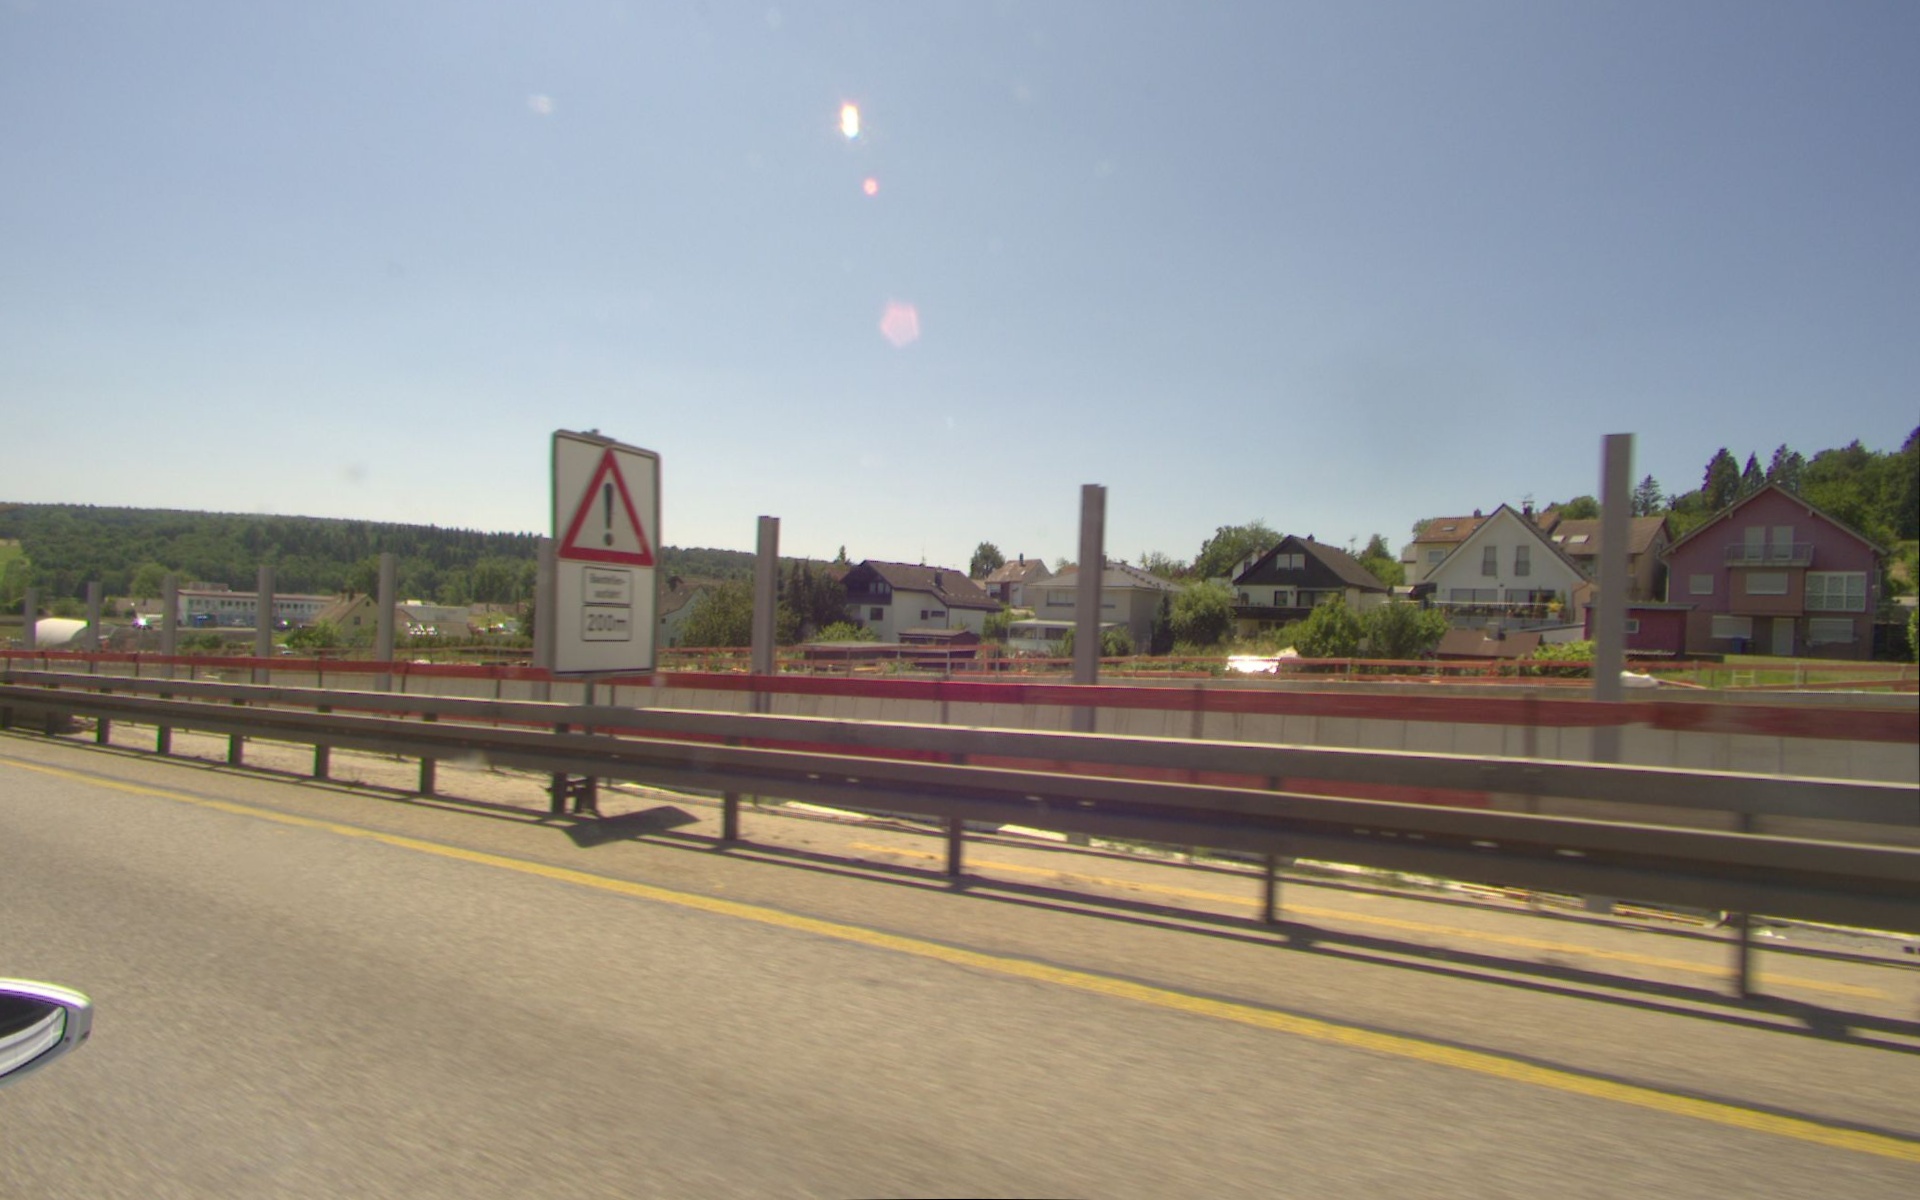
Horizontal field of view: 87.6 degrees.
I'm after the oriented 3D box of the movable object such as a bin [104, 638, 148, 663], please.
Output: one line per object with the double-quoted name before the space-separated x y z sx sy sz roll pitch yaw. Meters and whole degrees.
"movable object such as a bin" -77.333 4.662 92.863 4.094 2.267 1.990 -1 -2 33
